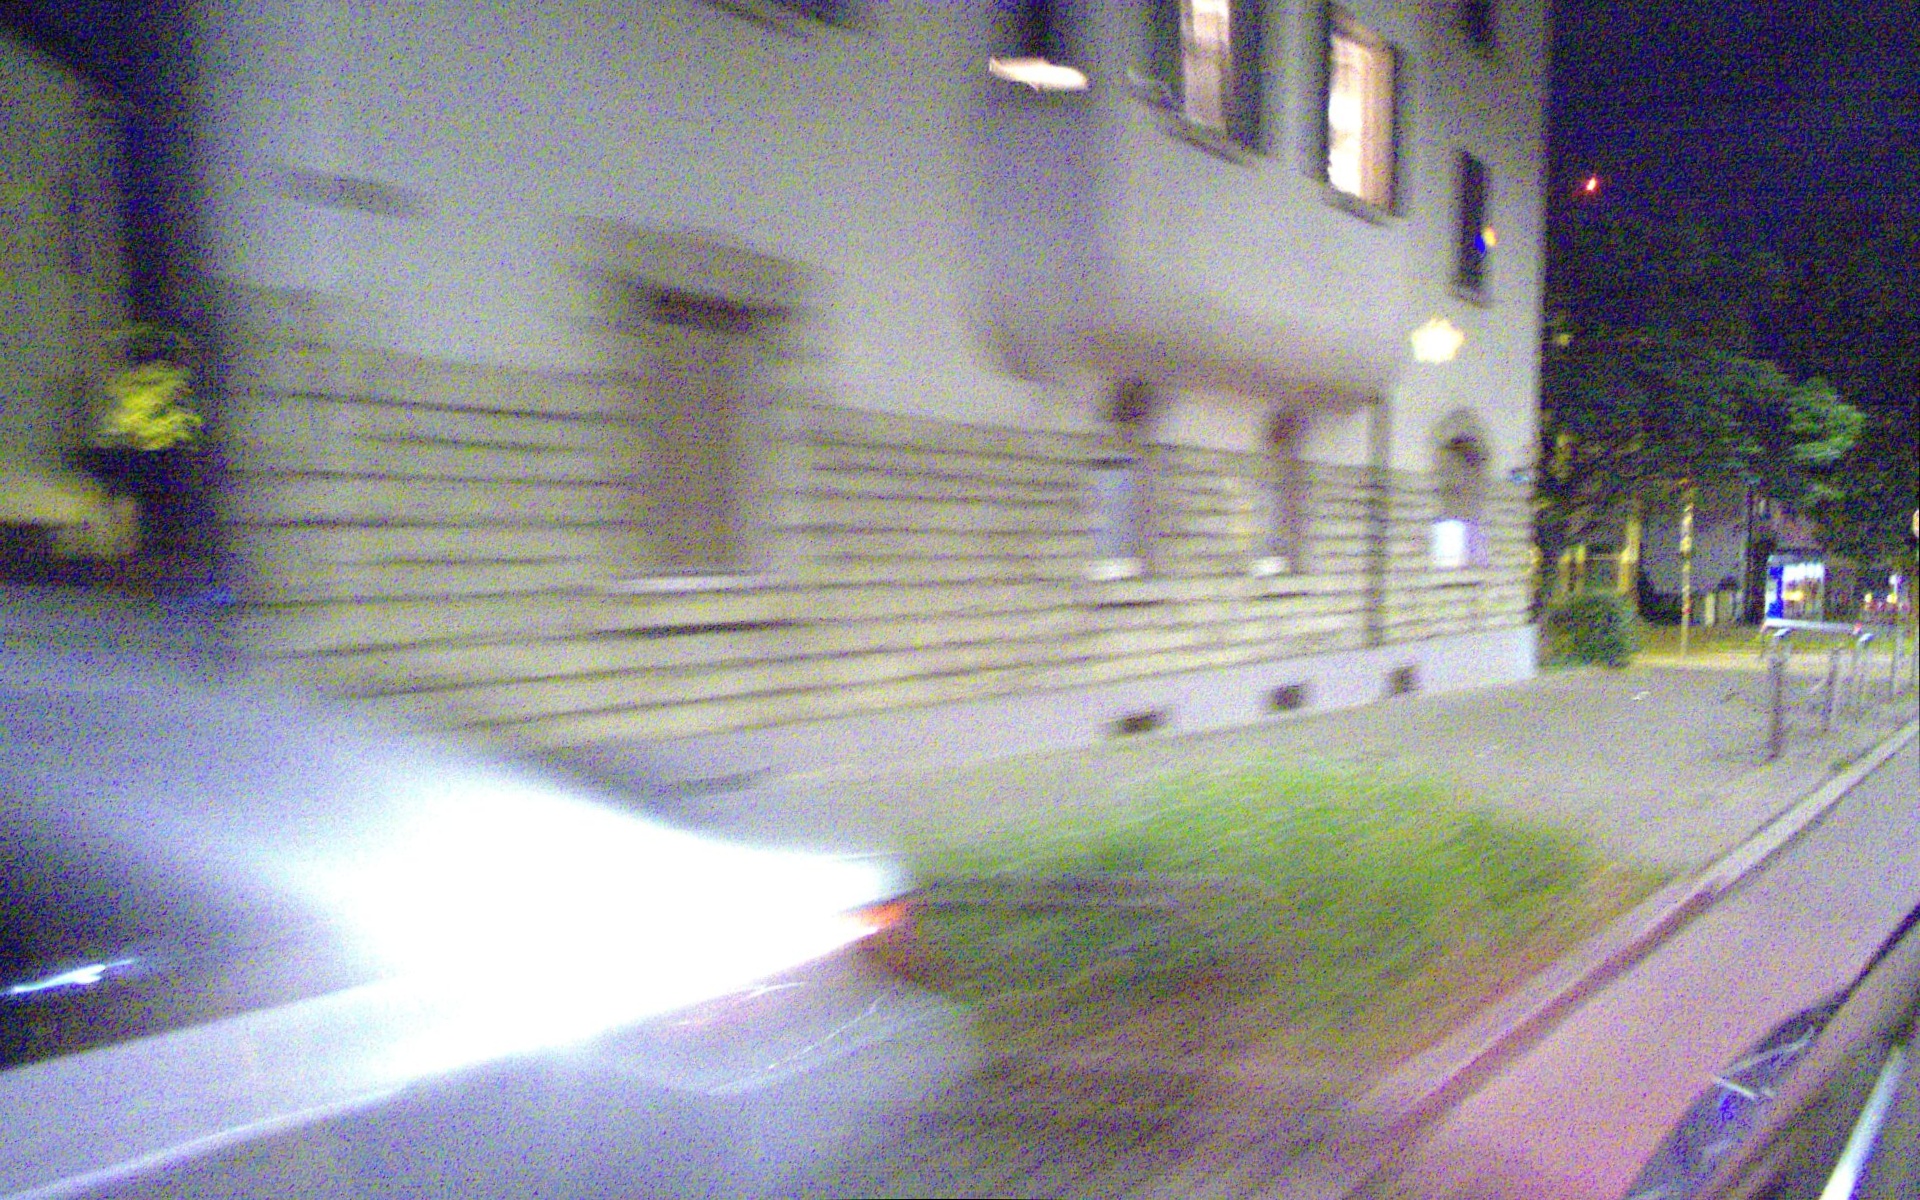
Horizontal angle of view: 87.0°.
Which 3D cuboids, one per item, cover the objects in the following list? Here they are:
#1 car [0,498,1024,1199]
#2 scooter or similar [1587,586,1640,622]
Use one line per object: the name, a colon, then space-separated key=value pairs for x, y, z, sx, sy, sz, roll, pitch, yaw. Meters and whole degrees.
car: x=-2.241 y=0.602 z=0.822 sx=4.565 sy=1.433 sz=1.849 roll=-1 pitch=6 yaw=-42
scooter or similar: x=21.955 y=0.141 z=34.002 sx=1.631 sy=1.159 sz=0.502 roll=0 pitch=4 yaw=-16
